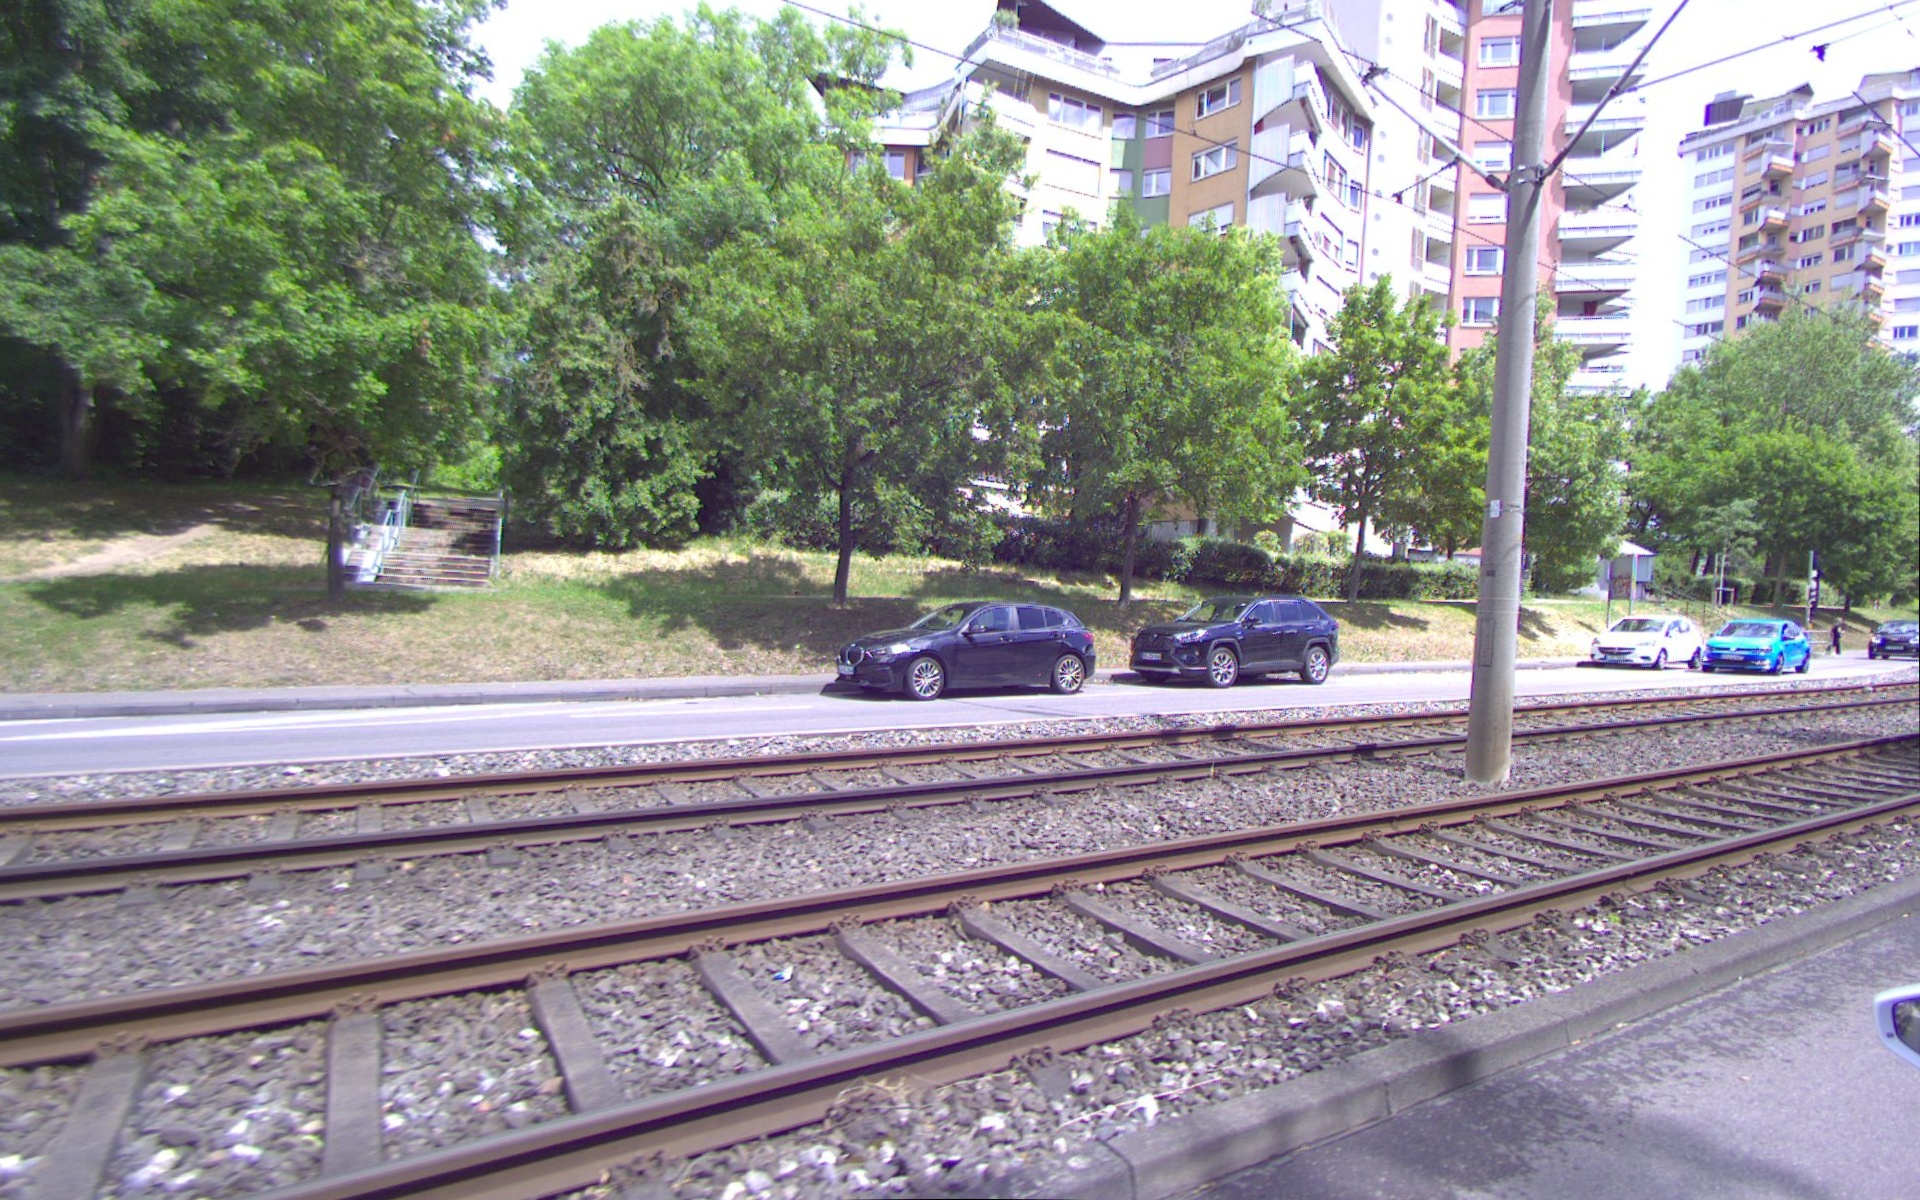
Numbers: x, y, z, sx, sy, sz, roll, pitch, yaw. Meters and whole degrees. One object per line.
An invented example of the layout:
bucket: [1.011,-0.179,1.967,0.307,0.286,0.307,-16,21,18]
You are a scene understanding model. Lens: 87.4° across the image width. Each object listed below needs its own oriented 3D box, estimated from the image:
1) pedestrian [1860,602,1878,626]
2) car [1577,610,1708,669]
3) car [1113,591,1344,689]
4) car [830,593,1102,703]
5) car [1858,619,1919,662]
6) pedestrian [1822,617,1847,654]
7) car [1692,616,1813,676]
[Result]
pedestrian: [60.110,0.904,66.445,0.623,1.555,0.634,1,0,-12]
car: [19.434,1.097,28.547,4.203,1.552,1.769,1,-1,-36]
car: [5.104,0.746,18.907,4.335,1.651,1.764,2,-1,-33]
car: [0.140,0.699,15.727,3.954,1.518,1.764,1,0,-33]
car: [37.341,1.577,39.852,3.659,1.585,1.705,1,0,-34]
pedestrian: [36.741,1.482,42.227,0.759,1.555,0.714,1,0,41]
car: [21.396,1.194,27.074,3.908,1.461,1.702,1,0,-38]
